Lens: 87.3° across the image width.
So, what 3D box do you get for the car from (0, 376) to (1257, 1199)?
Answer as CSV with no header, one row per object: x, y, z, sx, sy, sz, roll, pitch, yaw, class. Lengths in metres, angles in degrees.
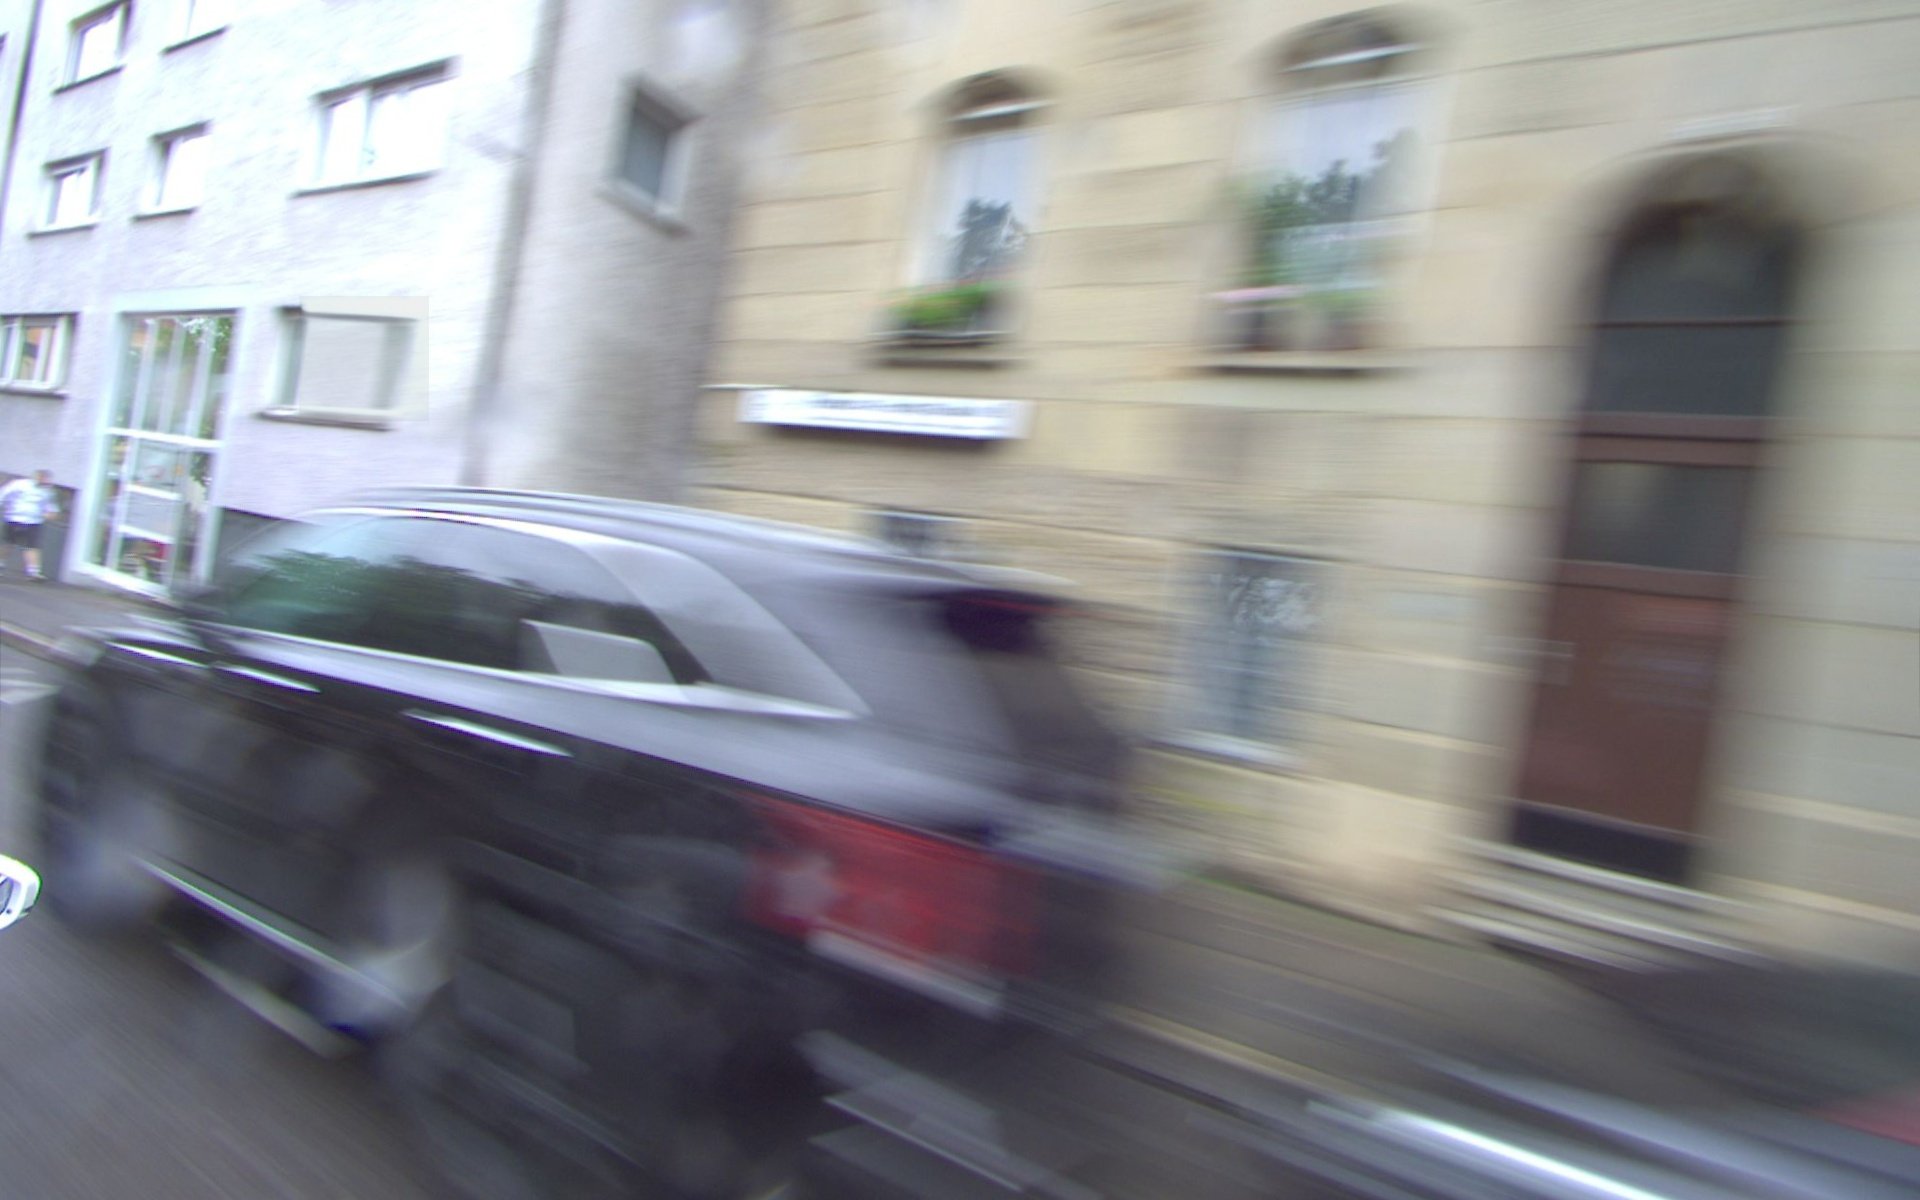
-1.516,0.379,3.515,4.426,1.728,1.769,7,-2,33,car

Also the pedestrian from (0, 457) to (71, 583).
-14.506,-1.231,15.468,0.823,1.777,0.853,7,-2,32,pedestrian

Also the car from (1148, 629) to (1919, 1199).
2.239,1.045,1.304,3.553,1.469,1.663,7,-2,36,car
